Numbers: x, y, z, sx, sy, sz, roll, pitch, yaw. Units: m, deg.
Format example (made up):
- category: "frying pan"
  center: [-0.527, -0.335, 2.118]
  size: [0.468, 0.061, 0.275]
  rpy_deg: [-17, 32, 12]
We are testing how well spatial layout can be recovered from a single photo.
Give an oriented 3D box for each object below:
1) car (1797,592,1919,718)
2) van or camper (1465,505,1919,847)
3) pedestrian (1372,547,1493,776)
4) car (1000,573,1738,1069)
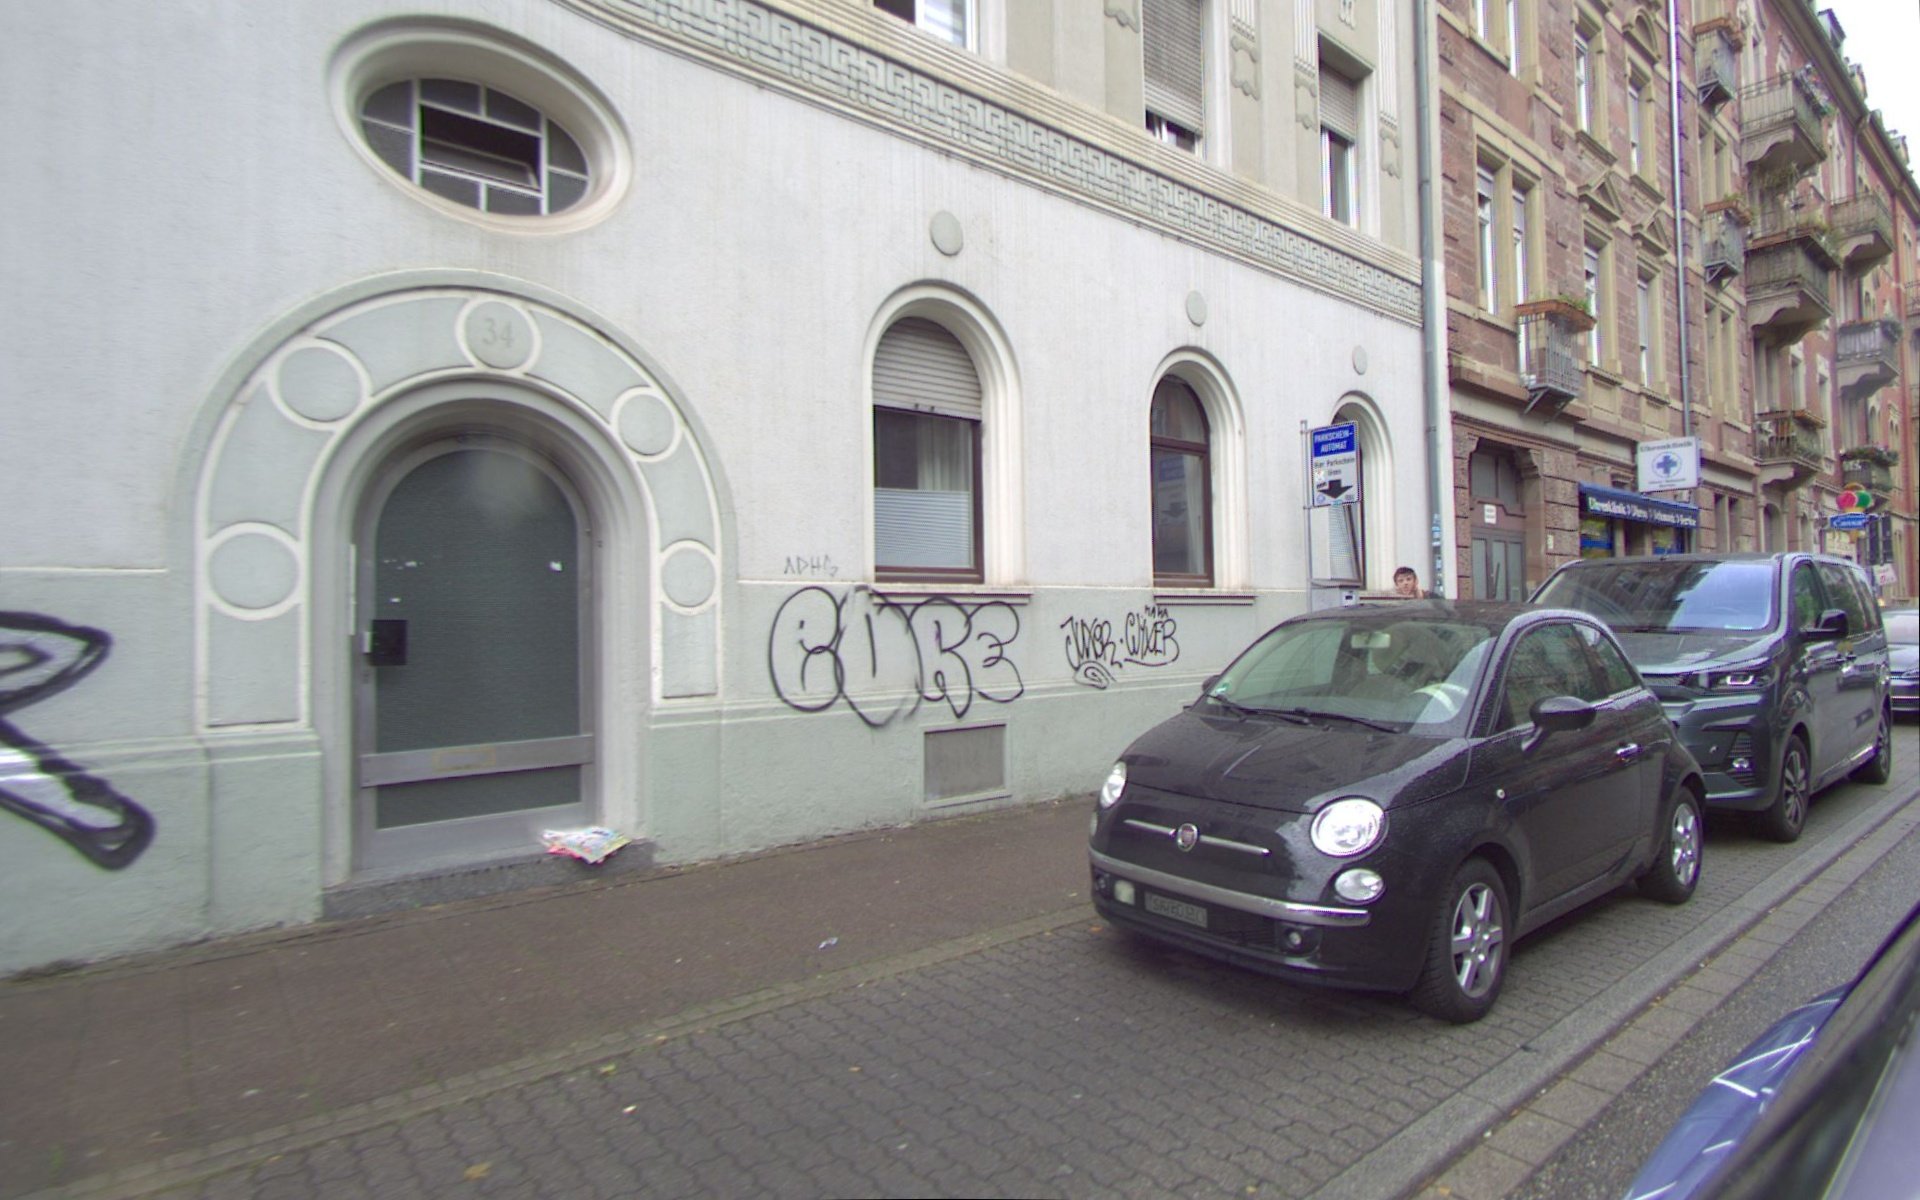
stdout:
- category: "car"
  center: [13.243, 0.678, 14.044]
  size: [3.933, 1.565, 1.844]
  rpy_deg: [0, -1, -41]
- category: "van or camper"
  center: [6.162, 0.426, 8.061]
  size: [4.965, 1.915, 2.025]
  rpy_deg: [0, 0, -40]
- category: "pedestrian"
  center: [4.280, 0.533, 9.190]
  size: [0.408, 1.976, 0.826]
  rpy_deg: [-2, 0, -38]
- category: "car"
  center: [2.101, 0.634, 4.744]
  size: [3.639, 1.418, 1.713]
  rpy_deg: [0, 0, -40]
